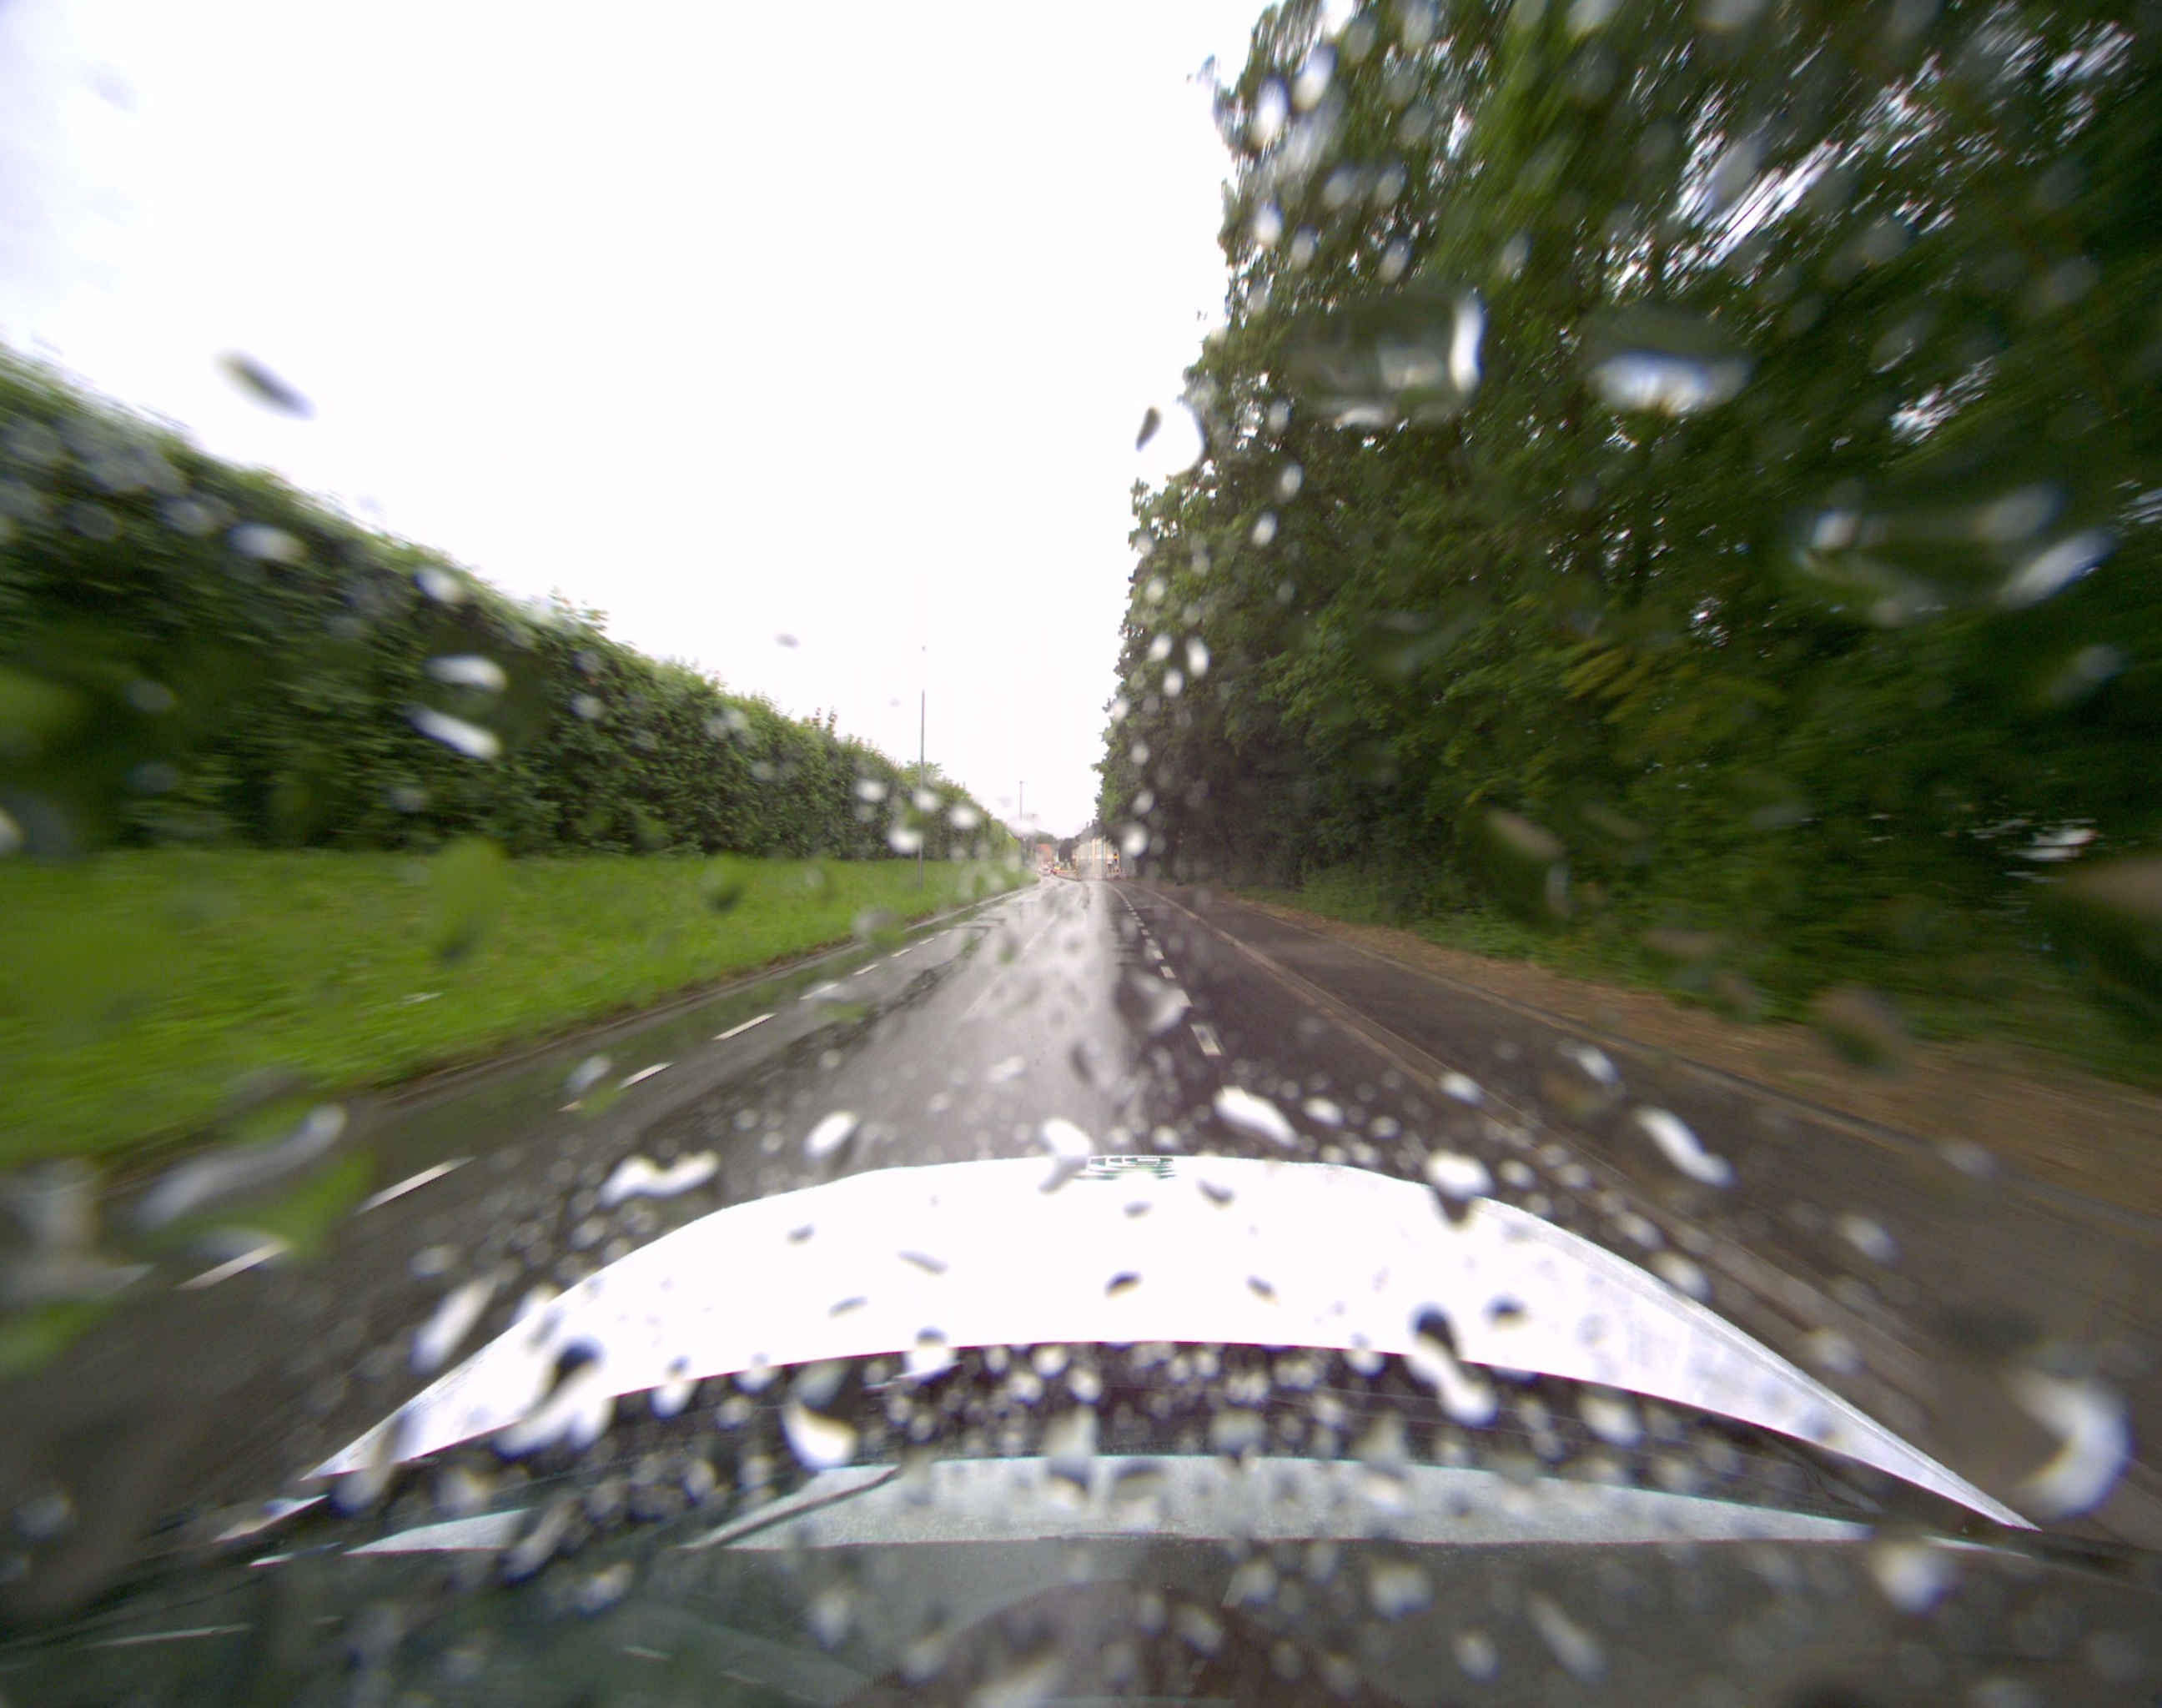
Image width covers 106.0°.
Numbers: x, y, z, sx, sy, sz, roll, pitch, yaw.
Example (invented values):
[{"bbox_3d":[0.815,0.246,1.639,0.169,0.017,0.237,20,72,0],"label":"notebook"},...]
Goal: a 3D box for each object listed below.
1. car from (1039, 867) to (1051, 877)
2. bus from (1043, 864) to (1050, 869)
[{"bbox_3d":[-6.991,3.506,158.617,1.988,1.611,3.998,-3,0,-1],"label":"car"},{"bbox_3d":[-9.759,3.509,230.967,1.789,1.410,3.997,1,-2,-1],"label":"bus"}]
